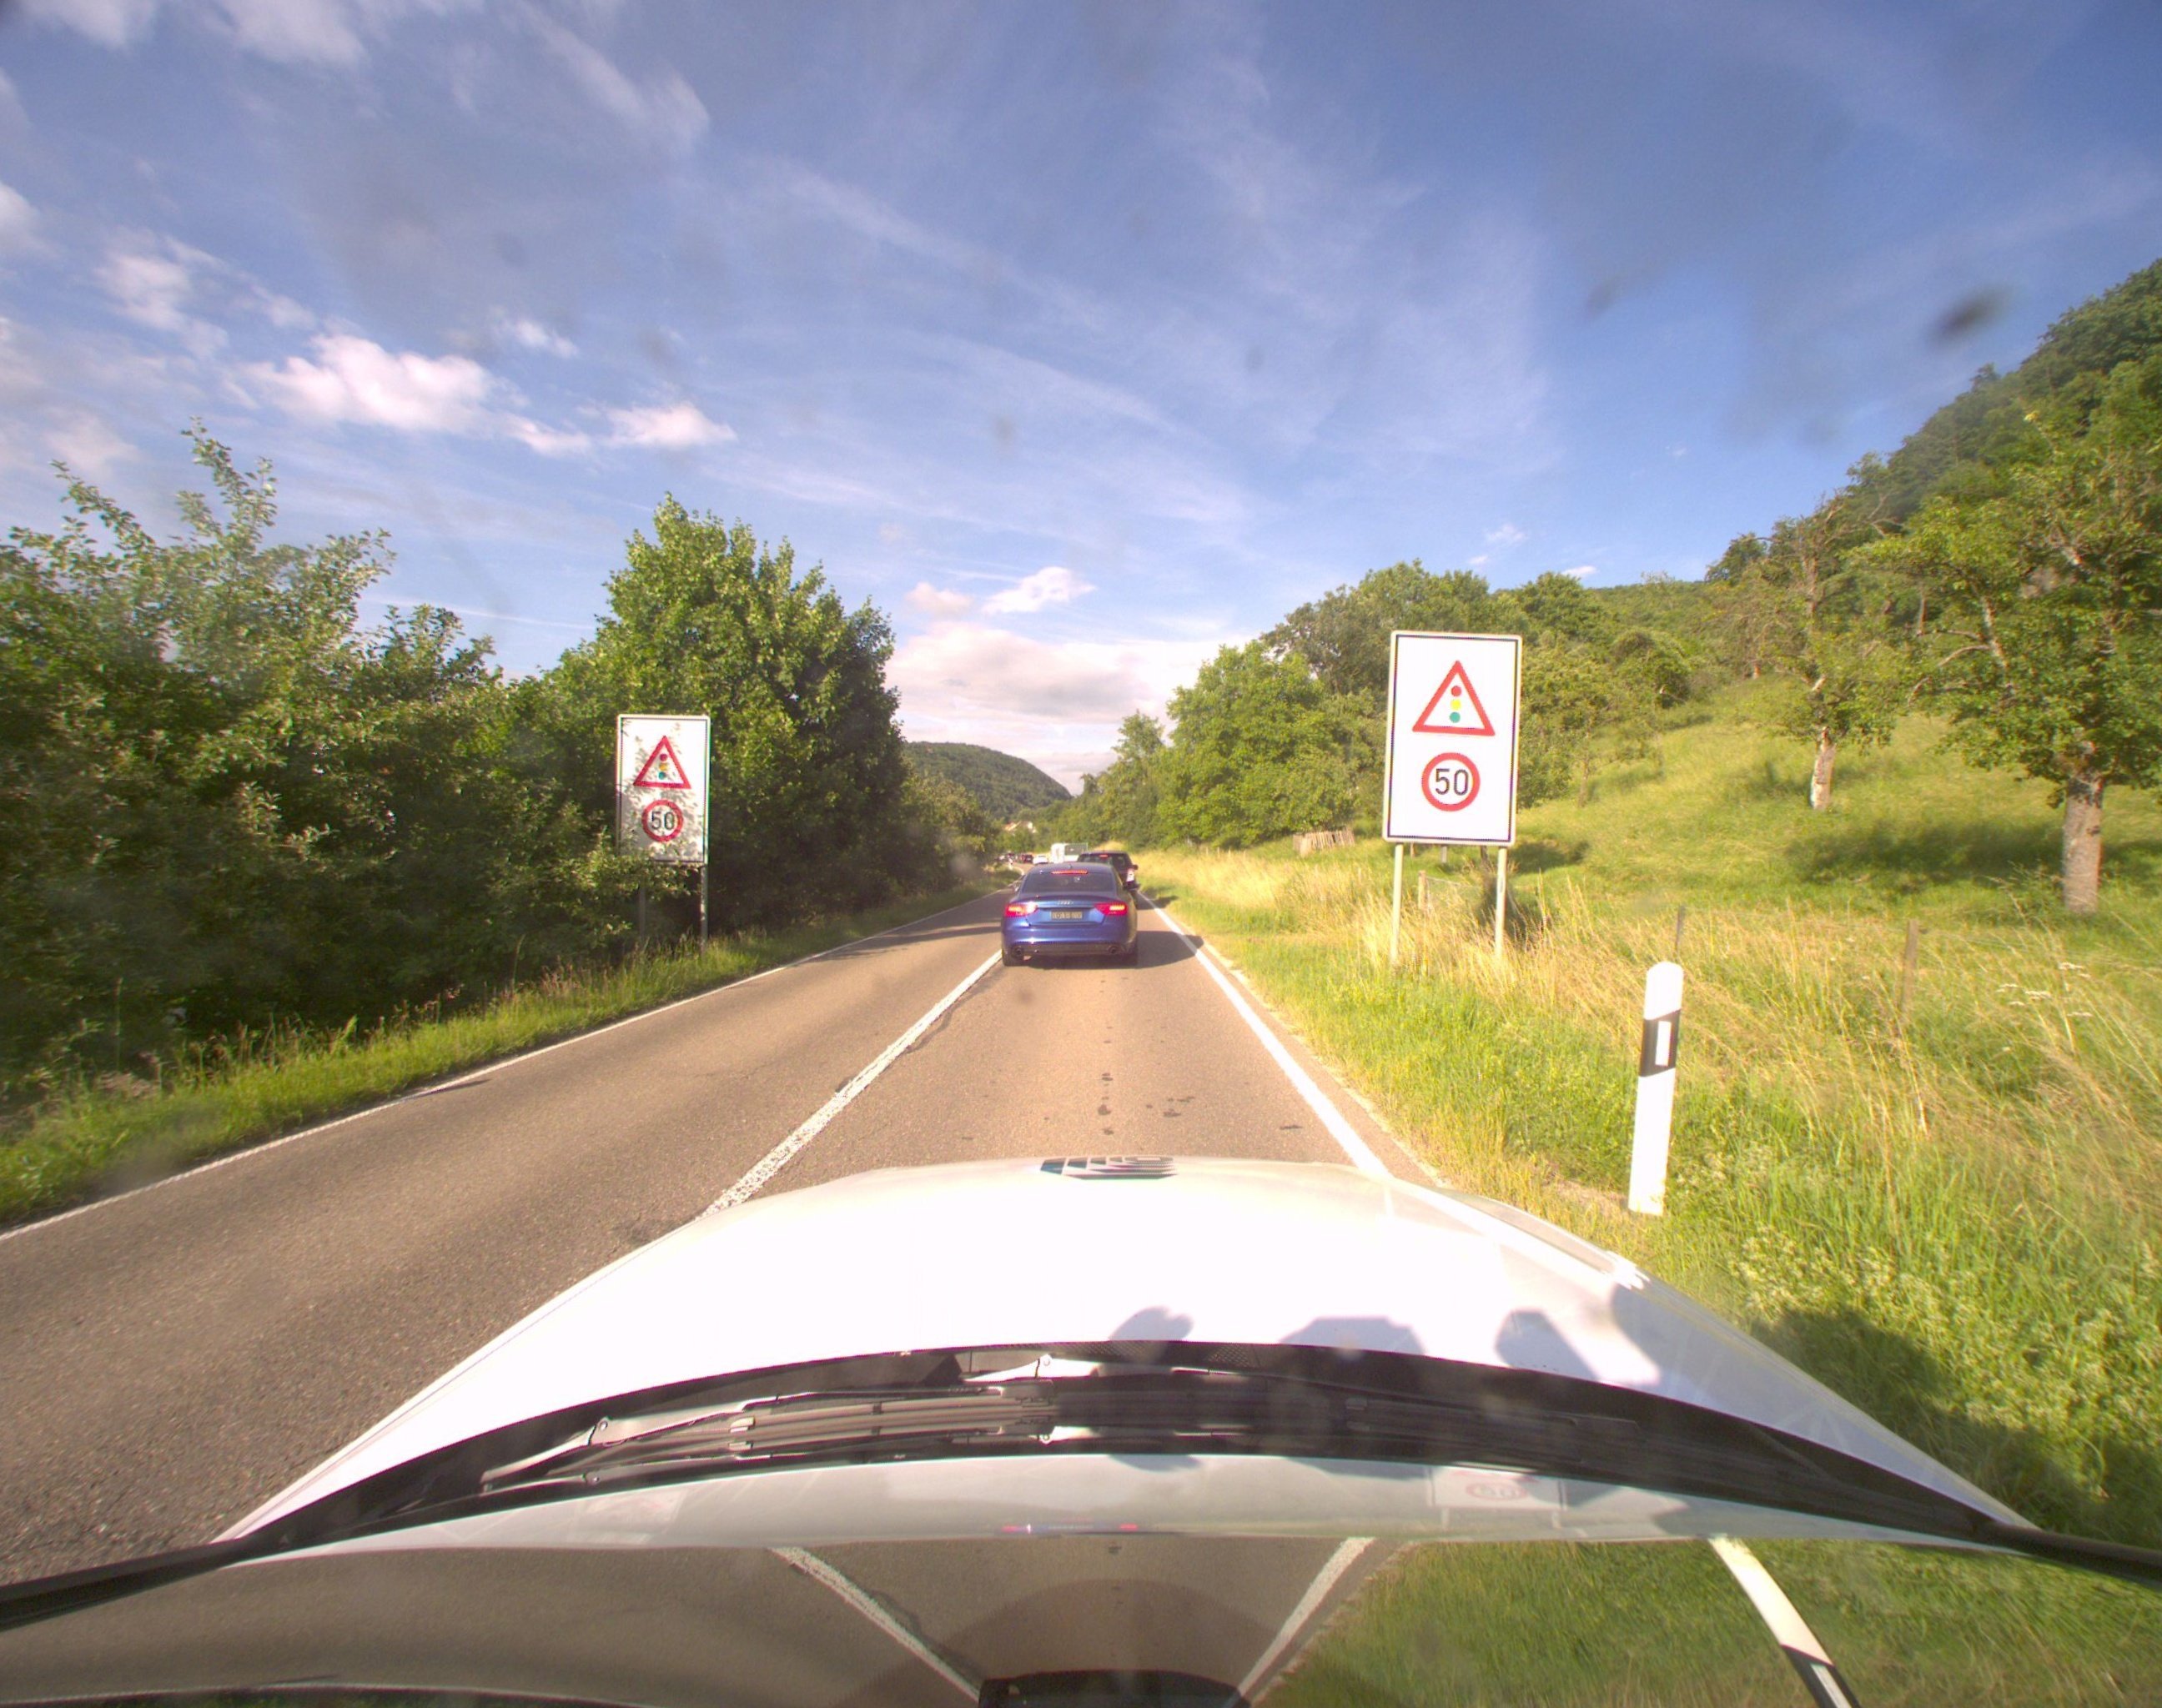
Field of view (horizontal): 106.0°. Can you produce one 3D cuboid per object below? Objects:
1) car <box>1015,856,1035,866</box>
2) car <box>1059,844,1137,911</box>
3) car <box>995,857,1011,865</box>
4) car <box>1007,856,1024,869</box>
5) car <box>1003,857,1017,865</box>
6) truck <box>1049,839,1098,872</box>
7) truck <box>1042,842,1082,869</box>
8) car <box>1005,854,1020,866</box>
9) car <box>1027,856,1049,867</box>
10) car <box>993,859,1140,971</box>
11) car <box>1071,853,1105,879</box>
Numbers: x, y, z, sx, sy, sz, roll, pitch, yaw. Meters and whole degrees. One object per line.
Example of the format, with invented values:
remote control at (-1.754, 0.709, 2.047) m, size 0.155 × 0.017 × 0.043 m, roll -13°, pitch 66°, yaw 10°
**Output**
car at (-8.500, 1.104, 123.100) m, size 1.999 × 1.482 × 3.974 m, roll 0°, pitch -1°, yaw -19°
car at (0.491, 0.628, 22.956) m, size 1.986 × 1.702 × 4.001 m, roll -1°, pitch -1°, yaw 1°
car at (-15.029, 1.319, 157.169) m, size 2.001 × 1.482 × 3.972 m, roll 0°, pitch -1°, yaw -21°
car at (-10.662, 1.330, 132.152) m, size 1.996 × 2.014 × 3.980 m, roll 0°, pitch -1°, yaw -14°
car at (-12.968, 1.256, 148.679) m, size 1.997 × 1.482 × 3.980 m, roll 0°, pitch -1°, yaw -15°
truck at (-0.779, 0.127, 72.553) m, size 2.863 × 2.665 × 10.360 m, roll 0°, pitch 0°, yaw -9°
truck at (-2.182, 0.205, 86.719) m, size 2.863 × 2.665 × 10.611 m, roll 0°, pitch 0°, yaw -9°
car at (-11.843, 0.985, 140.690) m, size 1.996 × 2.014 × 3.982 m, roll 0°, pitch -1°, yaw -13°
car at (-5.876, 1.004, 110.877) m, size 1.999 × 1.482 × 3.974 m, roll 0°, pitch -1°, yaw -19°
car at (-0.089, 0.772, 11.993) m, size 1.786 × 1.360 × 4.002 m, roll -1°, pitch -1°, yaw 2°
car at (0.458, 0.730, 49.555) m, size 1.986 × 1.482 × 4.001 m, roll -1°, pitch -1°, yaw 1°
